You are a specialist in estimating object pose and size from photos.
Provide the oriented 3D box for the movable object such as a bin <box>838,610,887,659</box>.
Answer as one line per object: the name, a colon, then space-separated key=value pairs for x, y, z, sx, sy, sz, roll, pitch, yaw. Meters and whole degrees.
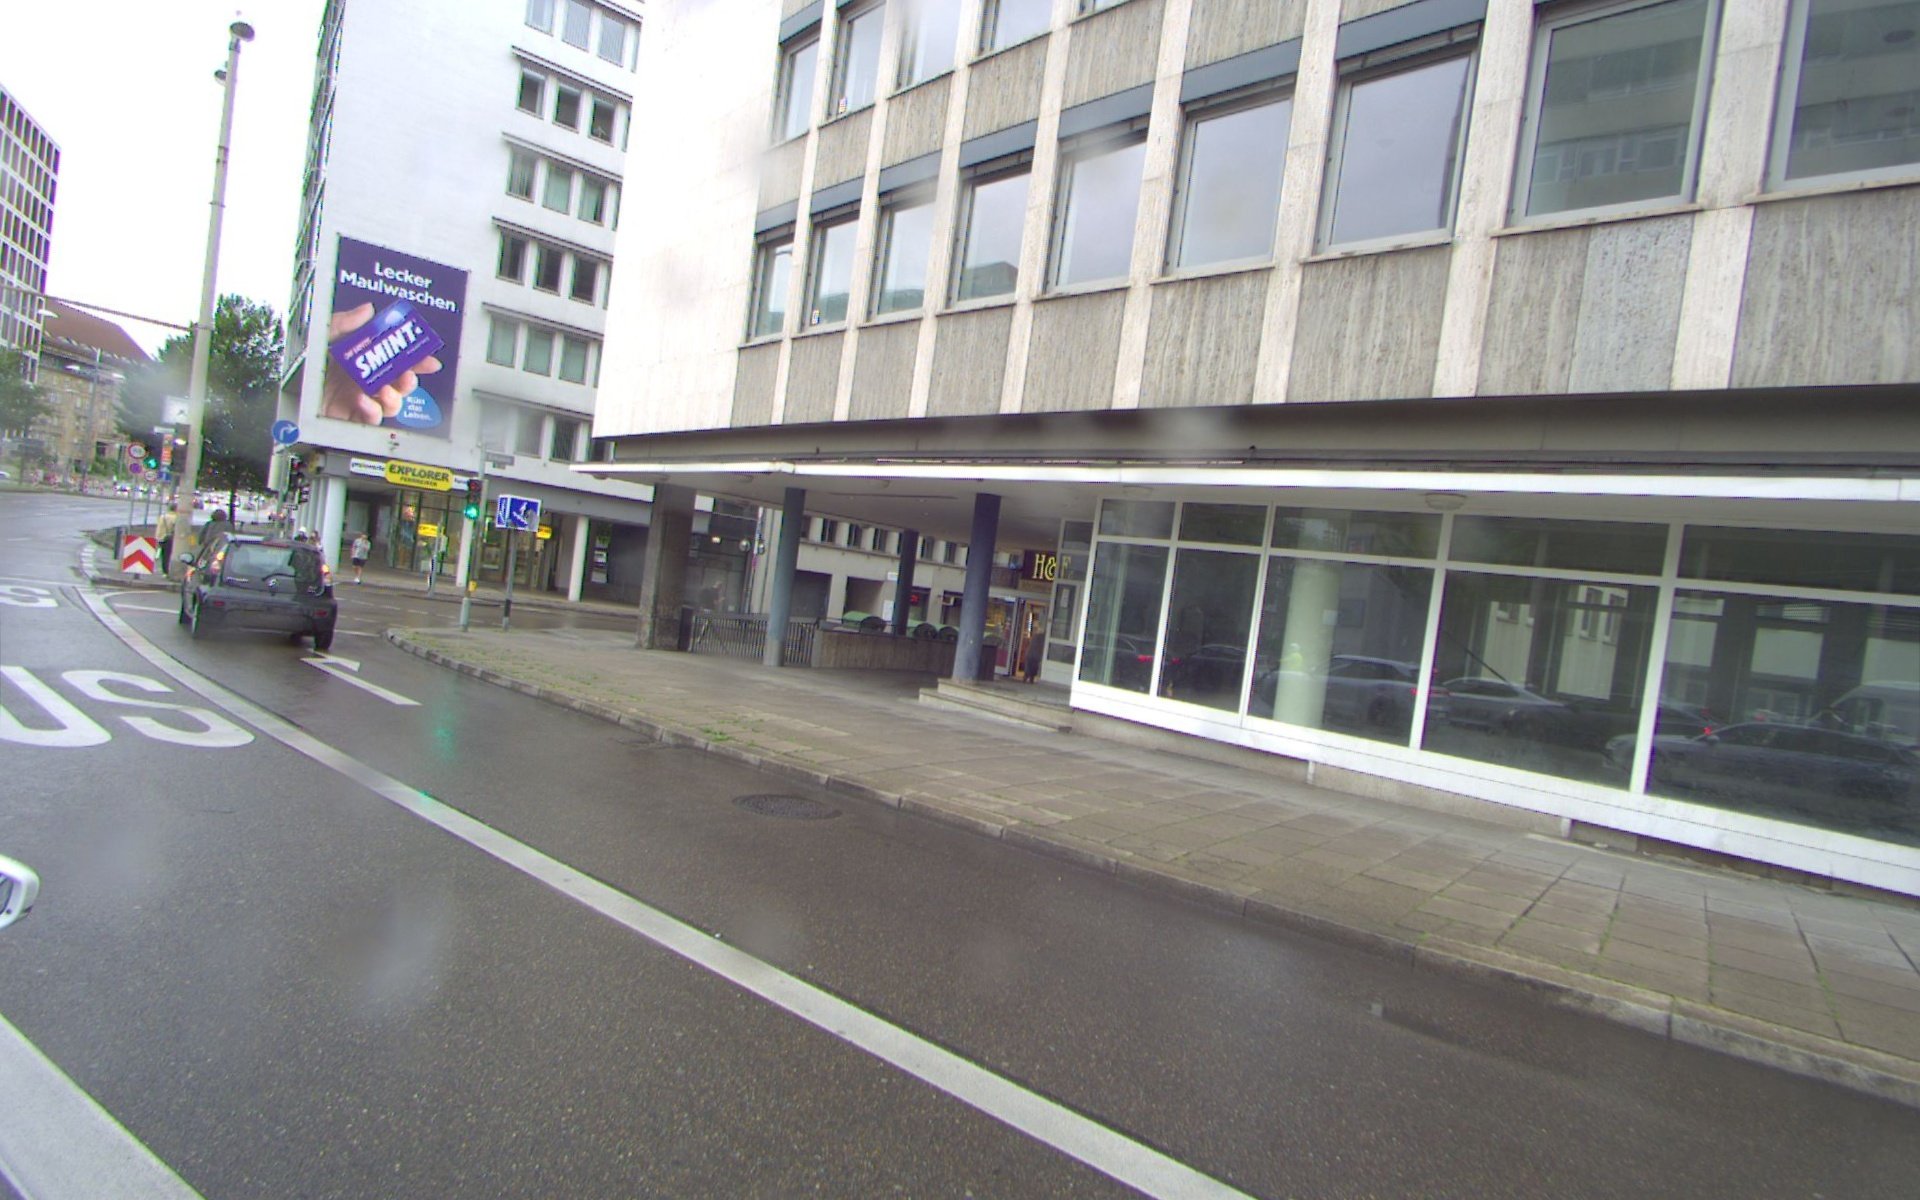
movable object such as a bin: x=-3.260 y=1.141 z=33.505 sx=0.961 sy=1.447 sz=1.268 roll=7 pitch=1 yaw=-36

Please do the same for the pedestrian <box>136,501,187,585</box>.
pedestrian: x=-18.559 y=-1.326 z=23.392 sx=0.745 sy=1.820 sz=0.808 roll=7 pitch=1 yaw=-38

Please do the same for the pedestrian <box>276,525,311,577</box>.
pedestrian: x=-22.916 y=-1.677 z=34.590 sx=0.660 sy=1.675 sz=0.651 roll=8 pitch=0 yaw=-15

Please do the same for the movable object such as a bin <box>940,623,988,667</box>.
movable object such as a bin: x=0.152 y=1.645 z=36.636 sx=1.095 sy=1.399 sz=1.186 roll=7 pitch=1 yaw=-37

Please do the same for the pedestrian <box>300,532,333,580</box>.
pedestrian: x=-22.244 y=-1.505 z=34.772 sx=0.616 sy=1.561 sz=0.651 roll=8 pitch=0 yaw=-15

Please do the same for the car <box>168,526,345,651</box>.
car: x=-10.461 y=-0.227 z=14.839 sx=1.566 sy=1.446 sz=3.953 roll=9 pitch=-2 yaw=-42

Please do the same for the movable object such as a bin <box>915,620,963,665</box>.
movable object such as a bin: x=-0.752 y=1.518 z=35.949 sx=1.095 sy=1.399 sz=1.186 roll=7 pitch=1 yaw=-37

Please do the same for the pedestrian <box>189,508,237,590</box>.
pedestrian: x=-17.721 y=-1.209 z=23.875 sx=0.745 sy=1.820 sz=0.808 roll=7 pitch=1 yaw=-38

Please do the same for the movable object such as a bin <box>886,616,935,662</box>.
movable object such as a bin: x=-1.725 y=1.362 z=35.186 sx=1.095 sy=1.399 sz=1.186 roll=7 pitch=1 yaw=-37

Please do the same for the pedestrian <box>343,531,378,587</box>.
pedestrian: x=-20.678 y=-1.412 z=34.722 sx=0.660 sy=1.815 sz=0.771 roll=8 pitch=0 yaw=-15

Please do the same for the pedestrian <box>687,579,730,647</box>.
pedestrian: x=-7.006 y=0.362 z=28.003 sx=0.768 sy=1.752 sz=0.589 roll=7 pitch=0 yaw=-44

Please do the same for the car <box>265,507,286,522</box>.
car: x=-91.665 y=-11.392 z=134.709 sx=1.680 sy=1.503 sz=3.973 roll=8 pitch=-2 yaw=-28

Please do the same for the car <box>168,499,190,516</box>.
car: x=-98.501 y=-11.651 z=126.888 sx=1.878 sy=1.662 sz=3.962 roll=8 pitch=-1 yaw=-35

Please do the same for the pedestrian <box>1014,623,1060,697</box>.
pedestrian: x=2.019 y=1.590 z=26.421 sx=0.699 sy=1.825 sz=0.799 roll=8 pitch=0 yaw=31

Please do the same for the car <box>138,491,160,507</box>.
car: x=-133.373 y=-16.582 z=165.493 sx=1.980 sy=2.037 sz=3.968 roll=8 pitch=-1 yaw=-31
